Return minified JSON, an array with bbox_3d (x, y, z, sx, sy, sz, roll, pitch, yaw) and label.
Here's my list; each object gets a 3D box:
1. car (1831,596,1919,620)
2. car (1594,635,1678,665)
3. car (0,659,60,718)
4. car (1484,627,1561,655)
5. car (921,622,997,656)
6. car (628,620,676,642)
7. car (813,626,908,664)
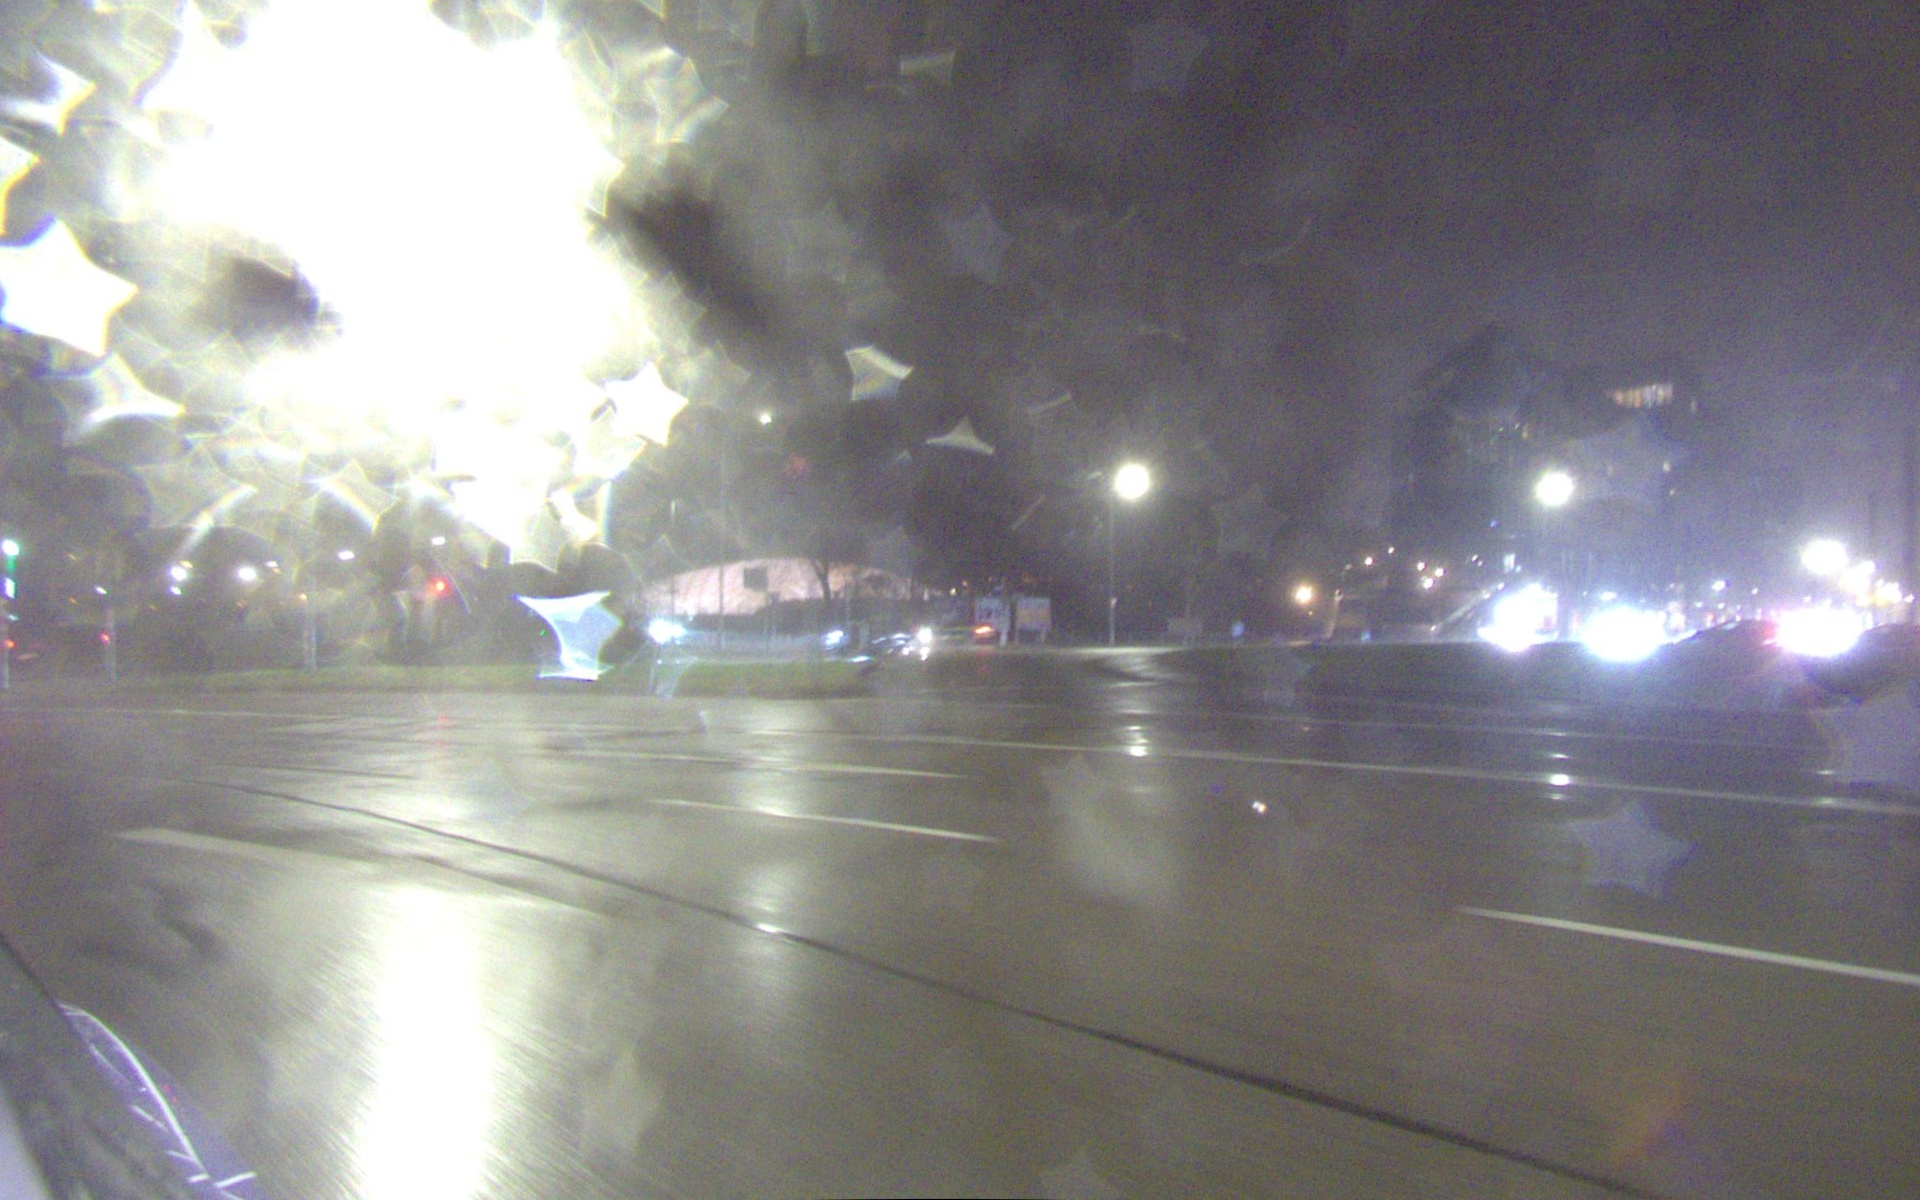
[{"bbox_3d":[55.680,0.485,61.325,3.970,1.455,1.829,0,0,7],"label":"car"},{"bbox_3d":[38.766,2.838,58.045,3.810,1.630,1.777,0,0,-10],"label":"car"},{"bbox_3d":[-32.089,2.819,32.100,4.958,1.729,2.075,0,0,-11],"label":"car"},{"bbox_3d":[34.086,2.473,61.390,3.810,1.630,1.777,0,0,-10],"label":"car"},{"bbox_3d":[-0.075,2.416,63.616,4.396,2.029,1.983,0,0,25],"label":"car"},{"bbox_3d":[-22.562,2.238,73.966,4.001,1.541,1.655,0,0,44],"label":"car"},{"bbox_3d":[-4.058,1.809,41.876,1.826,1.383,3.901,0,0,35],"label":"car"}]
